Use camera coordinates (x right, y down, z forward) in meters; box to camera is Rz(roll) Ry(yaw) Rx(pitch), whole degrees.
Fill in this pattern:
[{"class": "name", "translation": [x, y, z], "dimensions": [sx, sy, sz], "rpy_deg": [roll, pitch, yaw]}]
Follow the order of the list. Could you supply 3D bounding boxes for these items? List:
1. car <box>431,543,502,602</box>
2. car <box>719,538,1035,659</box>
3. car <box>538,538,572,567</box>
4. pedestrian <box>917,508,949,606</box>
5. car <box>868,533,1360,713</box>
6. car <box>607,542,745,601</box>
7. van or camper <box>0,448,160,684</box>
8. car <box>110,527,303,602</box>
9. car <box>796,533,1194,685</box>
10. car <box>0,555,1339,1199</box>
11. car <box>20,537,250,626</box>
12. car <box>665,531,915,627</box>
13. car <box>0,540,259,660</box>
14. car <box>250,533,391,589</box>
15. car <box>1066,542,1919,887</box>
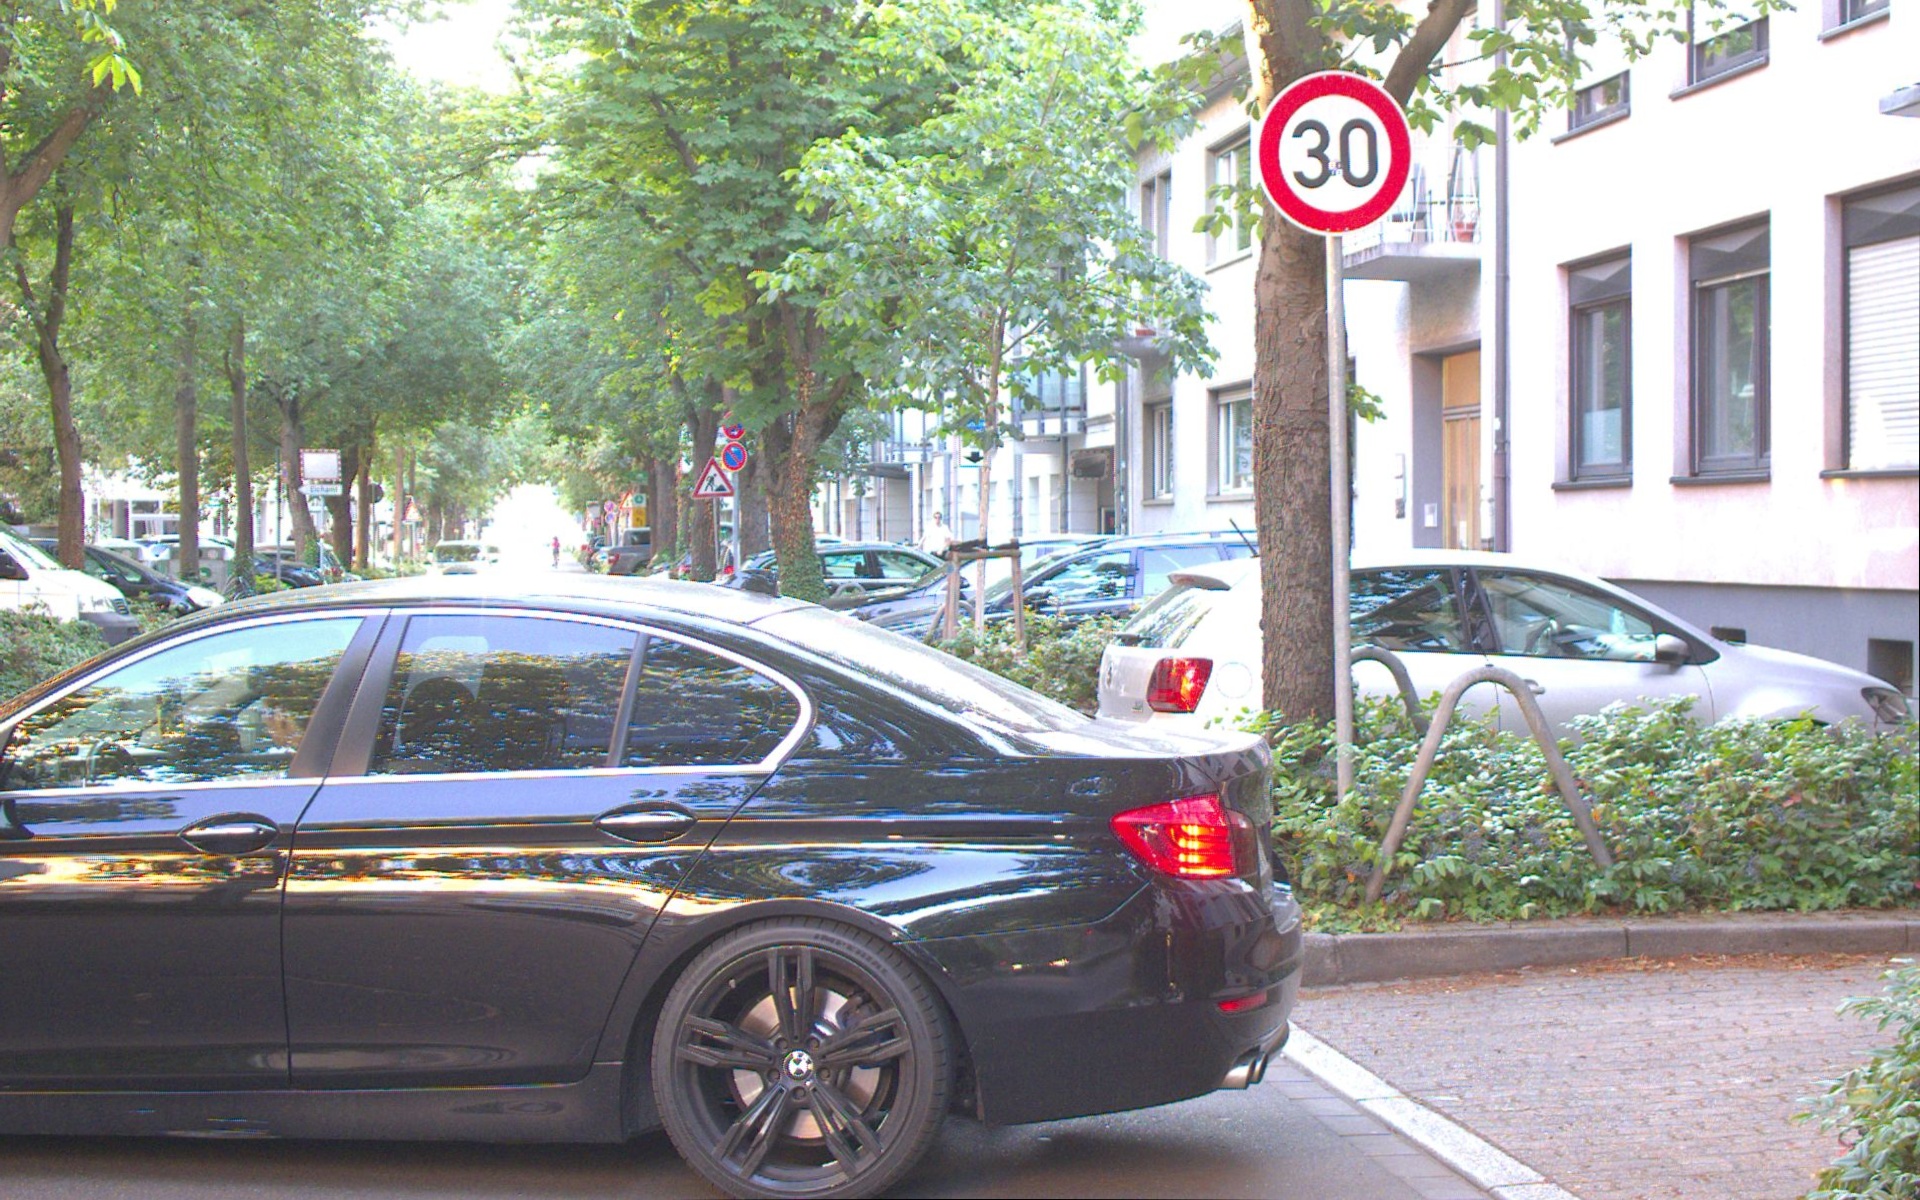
[{"class": "car", "translation": [-13.572, -0.775, 94.690], "dimensions": [1.779, 1.557, 4.169], "rpy_deg": [0, 1, -6]}, {"class": "car", "translation": [-1.119, -0.037, 44.952], "dimensions": [3.967, 1.522, 1.785], "rpy_deg": [-1, 1, -7]}, {"class": "car", "translation": [-22.579, -2.661, 191.717], "dimensions": [1.822, 1.525, 4.001], "rpy_deg": [-1, 1, -6]}, {"class": "pedestrian", "translation": [-0.556, -0.894, 71.061], "dimensions": [0.589, 2.007, 0.669], "rpy_deg": [0, 1, -5]}, {"class": "car", "translation": [1.286, 0.169, 29.674], "dimensions": [3.967, 1.471, 1.785], "rpy_deg": [-1, 1, -8]}, {"class": "car", "translation": [-8.331, -0.858, 100.769], "dimensions": [3.967, 1.678, 1.785], "rpy_deg": [0, 1, -5]}, {"class": "van or camper", "translation": [-11.117, -0.368, 37.039], "dimensions": [4.662, 2.470, 2.000], "rpy_deg": [0, 1, -7]}, {"class": "car", "translation": [-16.655, -0.794, 76.137], "dimensions": [3.967, 1.614, 1.785], "rpy_deg": [0, 1, -5]}, {"class": "car", "translation": [0.331, 0.072, 36.142], "dimensions": [3.967, 1.522, 1.785], "rpy_deg": [-1, 1, -7]}, {"class": "car", "translation": [-1.453, 0.642, 8.600], "dimensions": [4.746, 1.475, 1.800], "rpy_deg": [0, 1, 7]}, {"class": "car", "translation": [-15.448, -0.360, 64.503], "dimensions": [3.967, 1.614, 1.785], "rpy_deg": [0, 1, -5]}, {"class": "car", "translation": [-2.834, -0.365, 56.816], "dimensions": [3.967, 1.522, 1.785], "rpy_deg": [-1, 1, -8]}, {"class": "car", "translation": [-11.912, -0.021, 48.037], "dimensions": [3.967, 1.614, 1.785], "rpy_deg": [0, 1, -6]}, {"class": "car", "translation": [-19.038, -1.167, 102.479], "dimensions": [3.967, 1.614, 1.785], "rpy_deg": [0, 1, -5]}, {"class": "car", "translation": [2.572, 0.481, 16.067], "dimensions": [3.908, 1.471, 1.665], "rpy_deg": [-1, 1, -8]}]
